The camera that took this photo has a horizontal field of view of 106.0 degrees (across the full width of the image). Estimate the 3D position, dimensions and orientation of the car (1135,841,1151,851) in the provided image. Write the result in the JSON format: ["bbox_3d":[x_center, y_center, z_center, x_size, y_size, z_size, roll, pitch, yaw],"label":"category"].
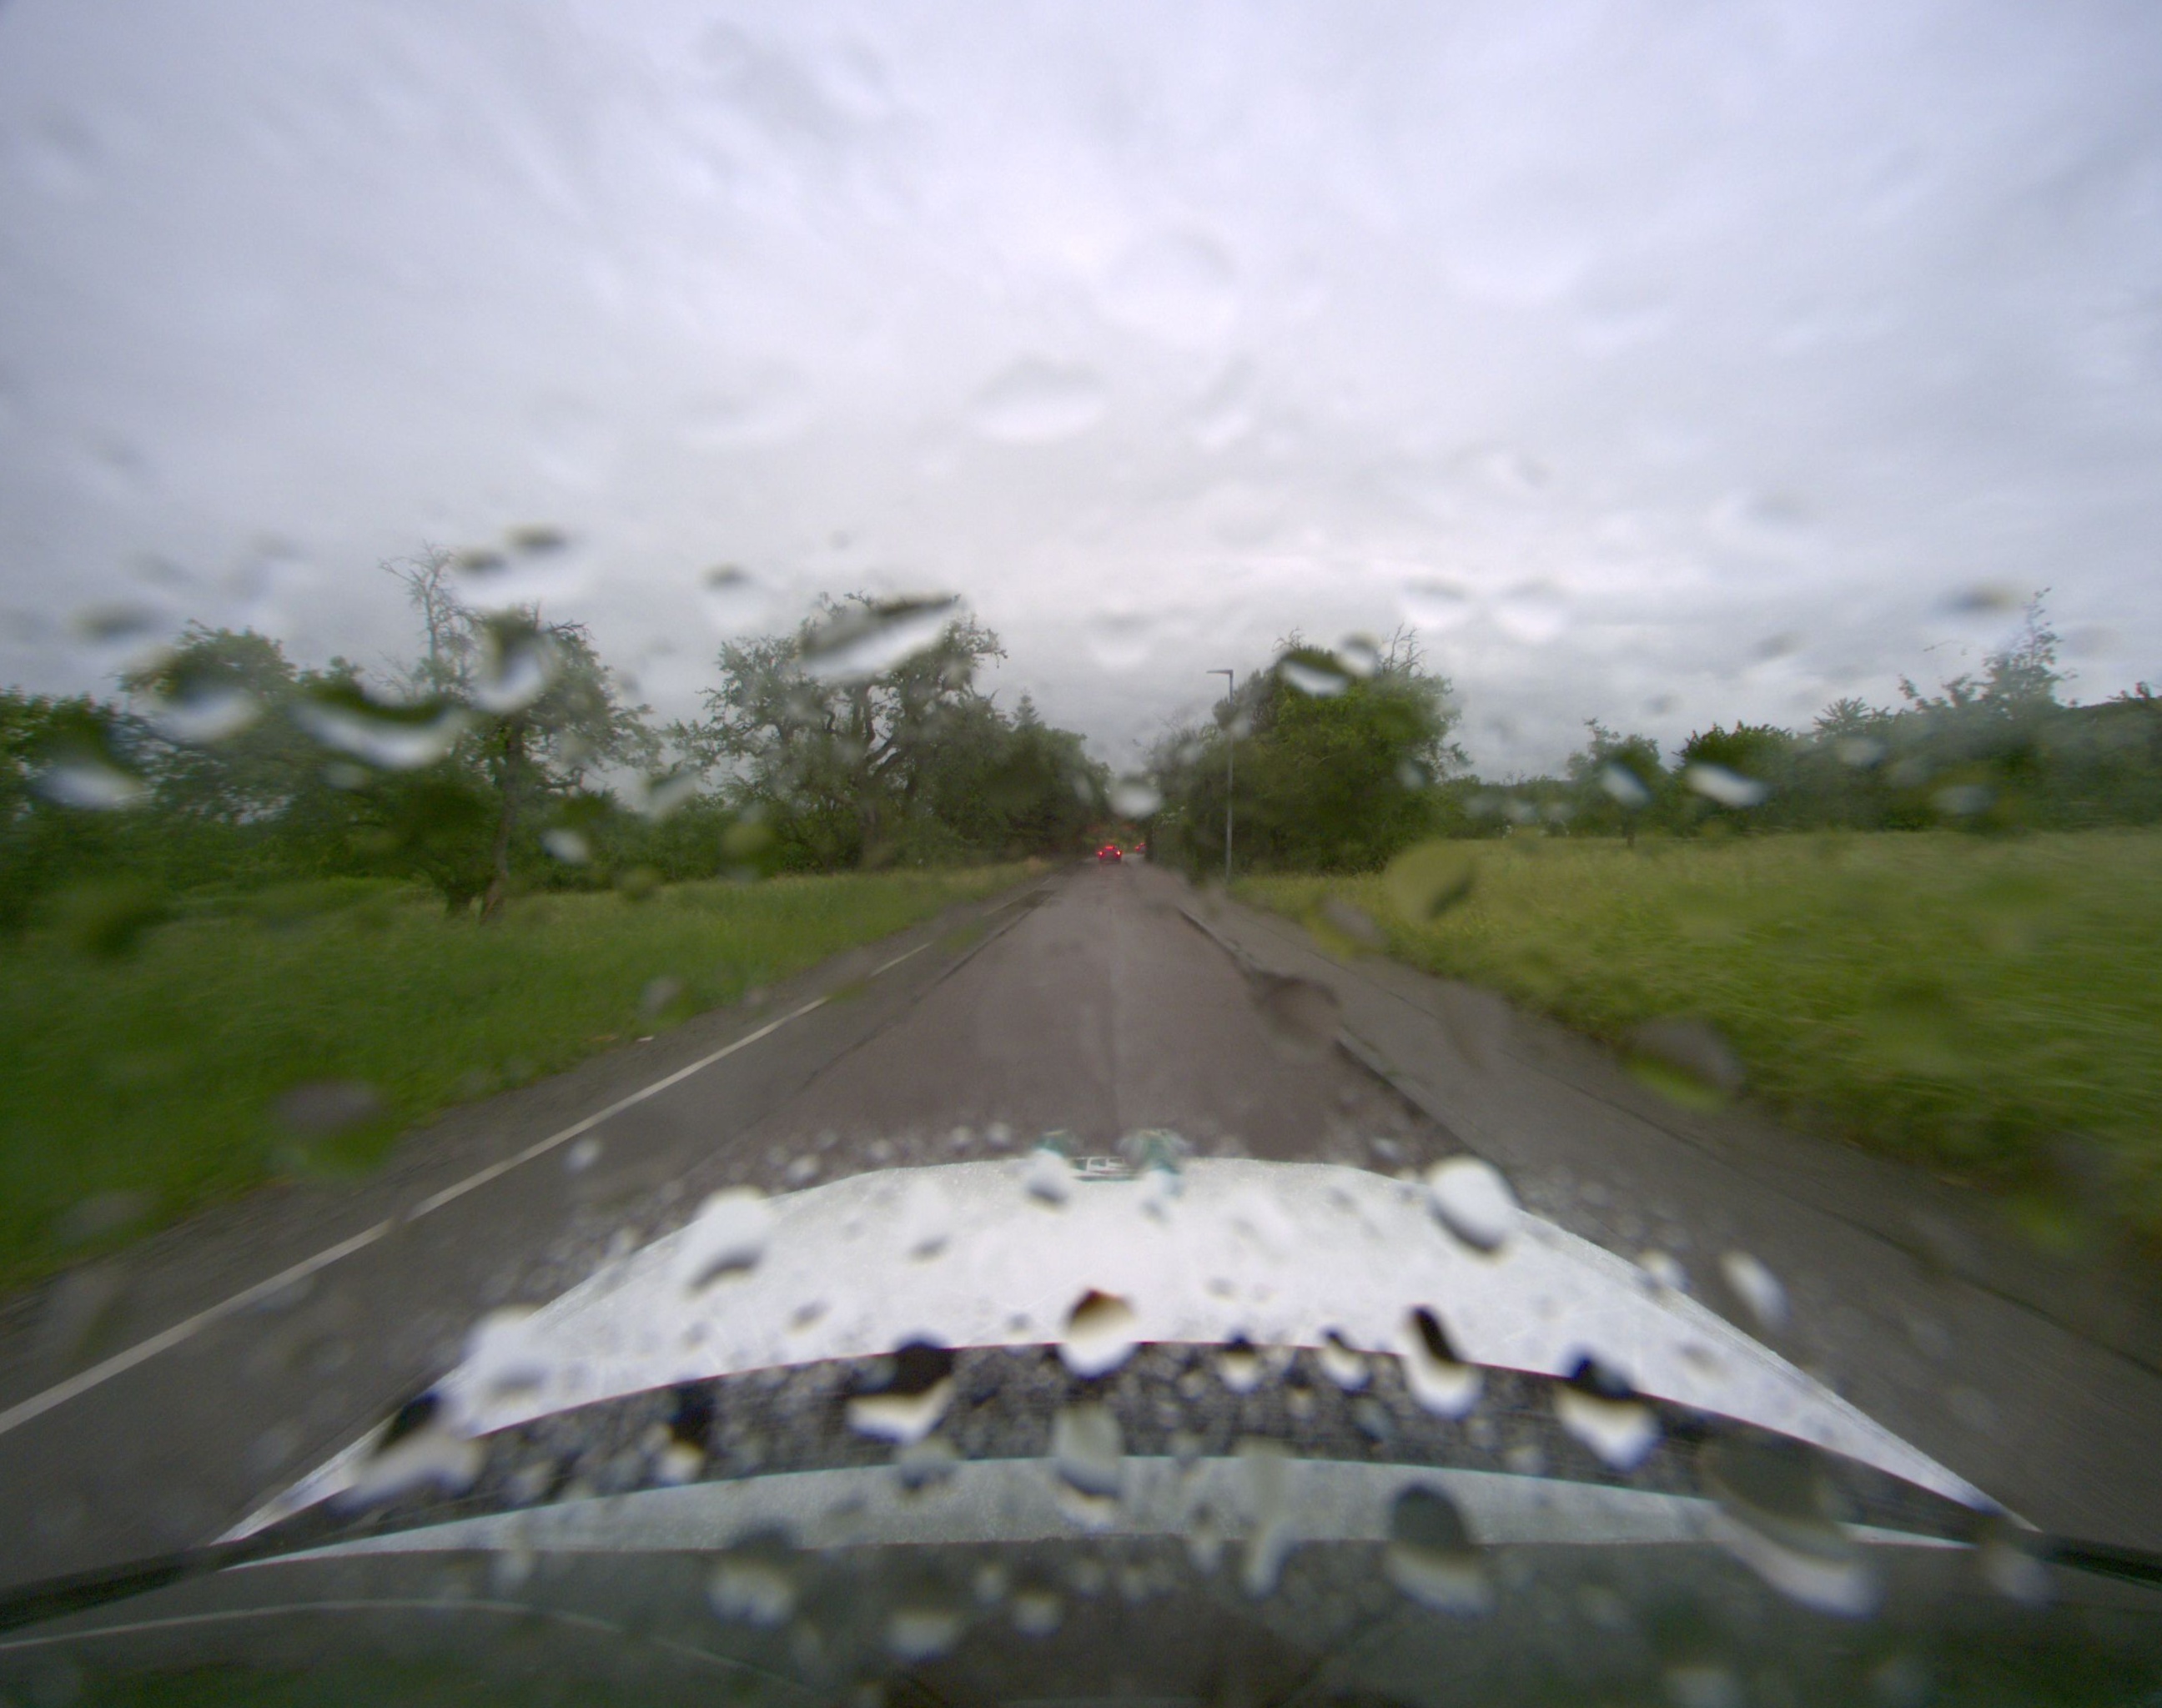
[{"bbox_3d":[8.432,-1.079,110.388,1.623,1.414,3.557,0,0,13],"label":"car"}]

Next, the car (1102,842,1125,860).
[{"bbox_3d":[2.717,-0.243,67.274,1.626,1.450,3.550,0,0,6],"label":"car"}]
